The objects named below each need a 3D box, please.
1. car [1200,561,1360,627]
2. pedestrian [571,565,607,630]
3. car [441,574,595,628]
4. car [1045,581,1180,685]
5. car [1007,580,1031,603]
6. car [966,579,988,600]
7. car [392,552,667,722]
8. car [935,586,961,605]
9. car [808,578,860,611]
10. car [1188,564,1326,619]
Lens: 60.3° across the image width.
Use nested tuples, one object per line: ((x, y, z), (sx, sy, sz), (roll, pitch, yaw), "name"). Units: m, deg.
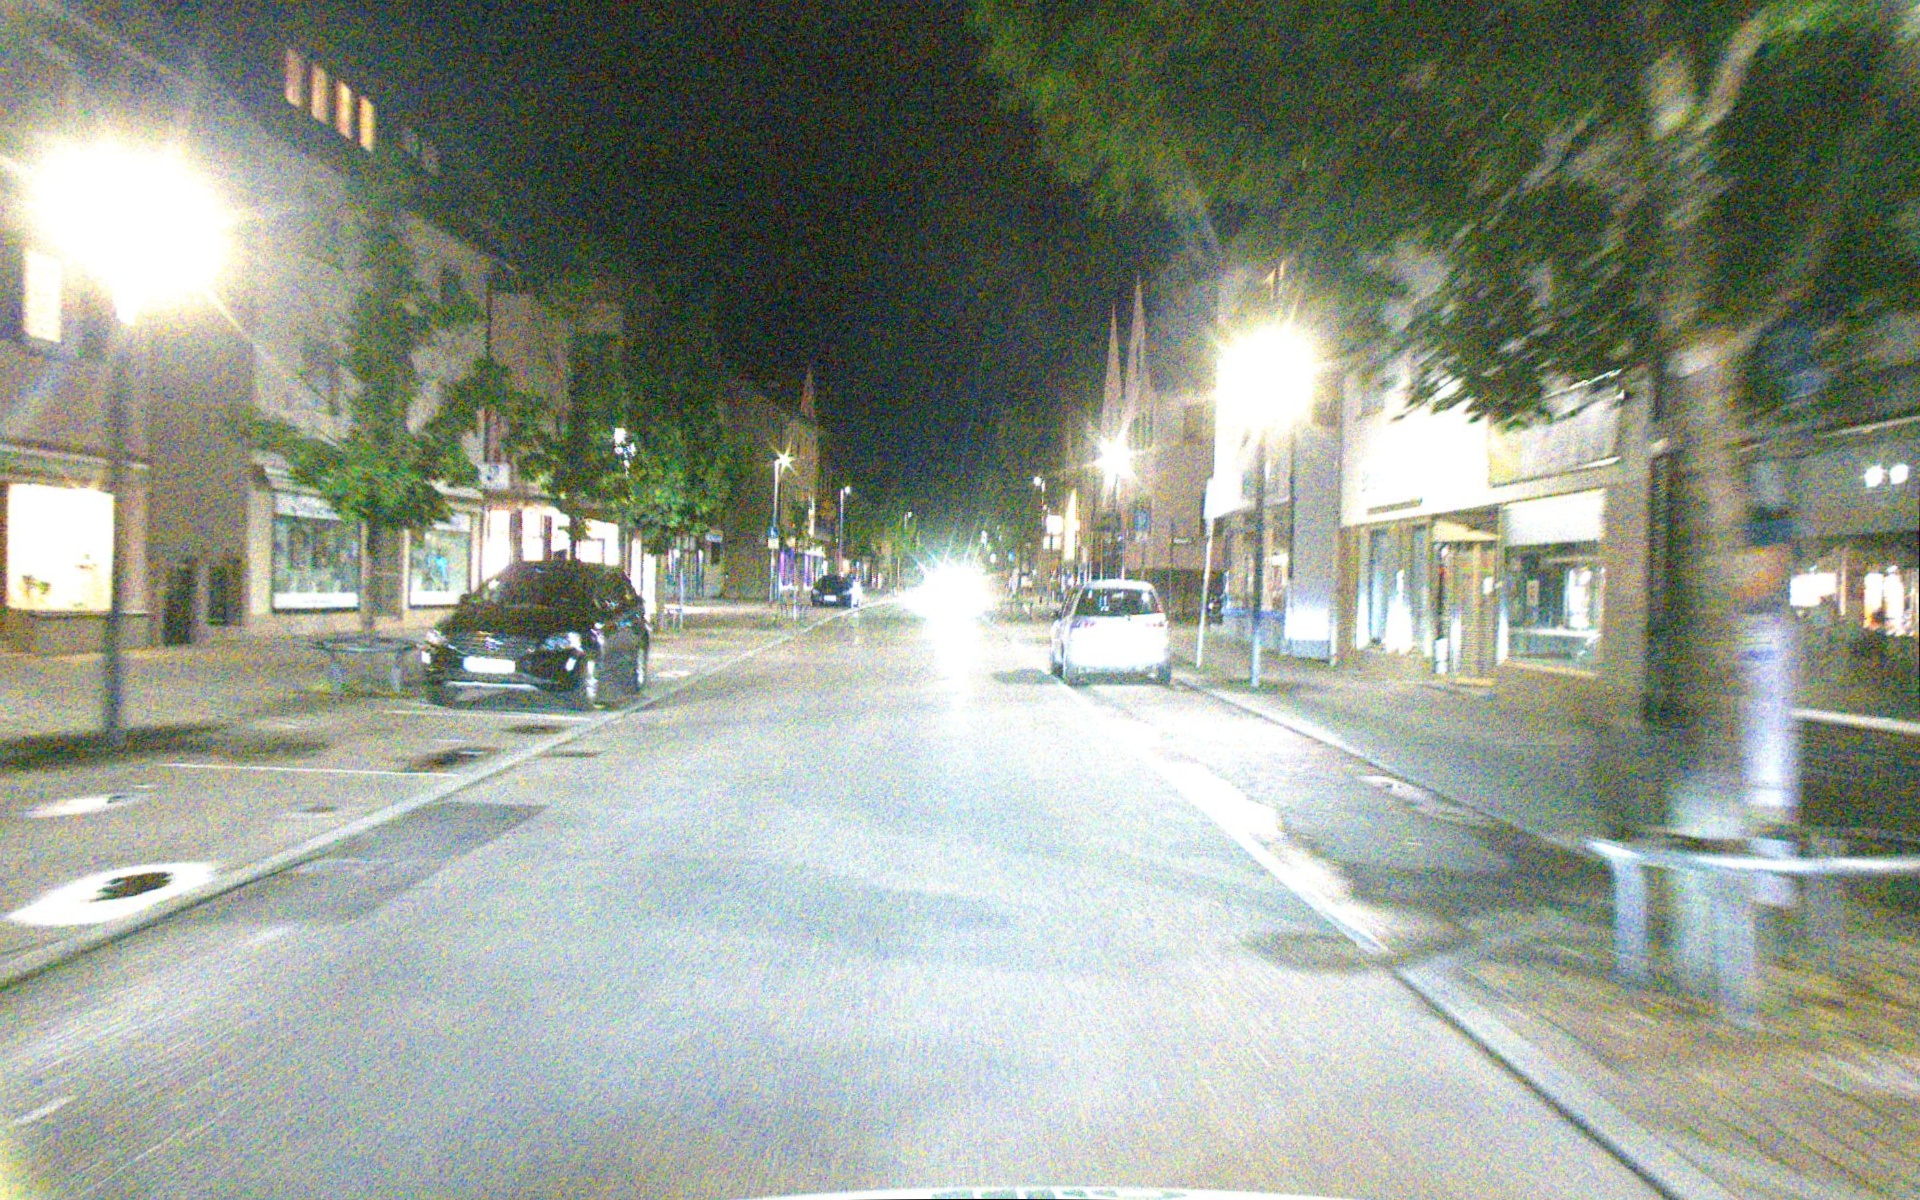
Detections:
((8.863, -0.192, 45.947), (3.996, 1.608, 1.815), (-3, 1, -4), "car")
((-9.773, -0.072, 43.627), (0.753, 1.685, 0.782), (1, 2, 1), "pedestrian")
((-13.400, 0.037, 50.277), (4.080, 1.463, 1.841), (-2, 0, 3), "car")
((2.322, 0.476, 25.964), (1.641, 1.485, 3.674), (1, 0, -2), "car")
((4.565, -0.680, 127.821), (1.739, 1.681, 4.365), (1, 1, 1), "car")
((1.377, -0.860, 131.934), (1.739, 1.681, 4.365), (1, 1, 1), "car")
((-5.046, 0.387, 20.197), (1.976, 1.720, 5.003), (3, 0, 0), "car")
((-0.847, -0.325, 114.860), (1.687, 1.268, 4.238), (1, 0, 1), "car")
((-5.603, -0.278, 74.128), (1.875, 1.394, 4.458), (1, 1, 1), "car")
((9.261, -0.261, 51.730), (3.908, 1.502, 1.751), (-3, 0, -3), "car")
